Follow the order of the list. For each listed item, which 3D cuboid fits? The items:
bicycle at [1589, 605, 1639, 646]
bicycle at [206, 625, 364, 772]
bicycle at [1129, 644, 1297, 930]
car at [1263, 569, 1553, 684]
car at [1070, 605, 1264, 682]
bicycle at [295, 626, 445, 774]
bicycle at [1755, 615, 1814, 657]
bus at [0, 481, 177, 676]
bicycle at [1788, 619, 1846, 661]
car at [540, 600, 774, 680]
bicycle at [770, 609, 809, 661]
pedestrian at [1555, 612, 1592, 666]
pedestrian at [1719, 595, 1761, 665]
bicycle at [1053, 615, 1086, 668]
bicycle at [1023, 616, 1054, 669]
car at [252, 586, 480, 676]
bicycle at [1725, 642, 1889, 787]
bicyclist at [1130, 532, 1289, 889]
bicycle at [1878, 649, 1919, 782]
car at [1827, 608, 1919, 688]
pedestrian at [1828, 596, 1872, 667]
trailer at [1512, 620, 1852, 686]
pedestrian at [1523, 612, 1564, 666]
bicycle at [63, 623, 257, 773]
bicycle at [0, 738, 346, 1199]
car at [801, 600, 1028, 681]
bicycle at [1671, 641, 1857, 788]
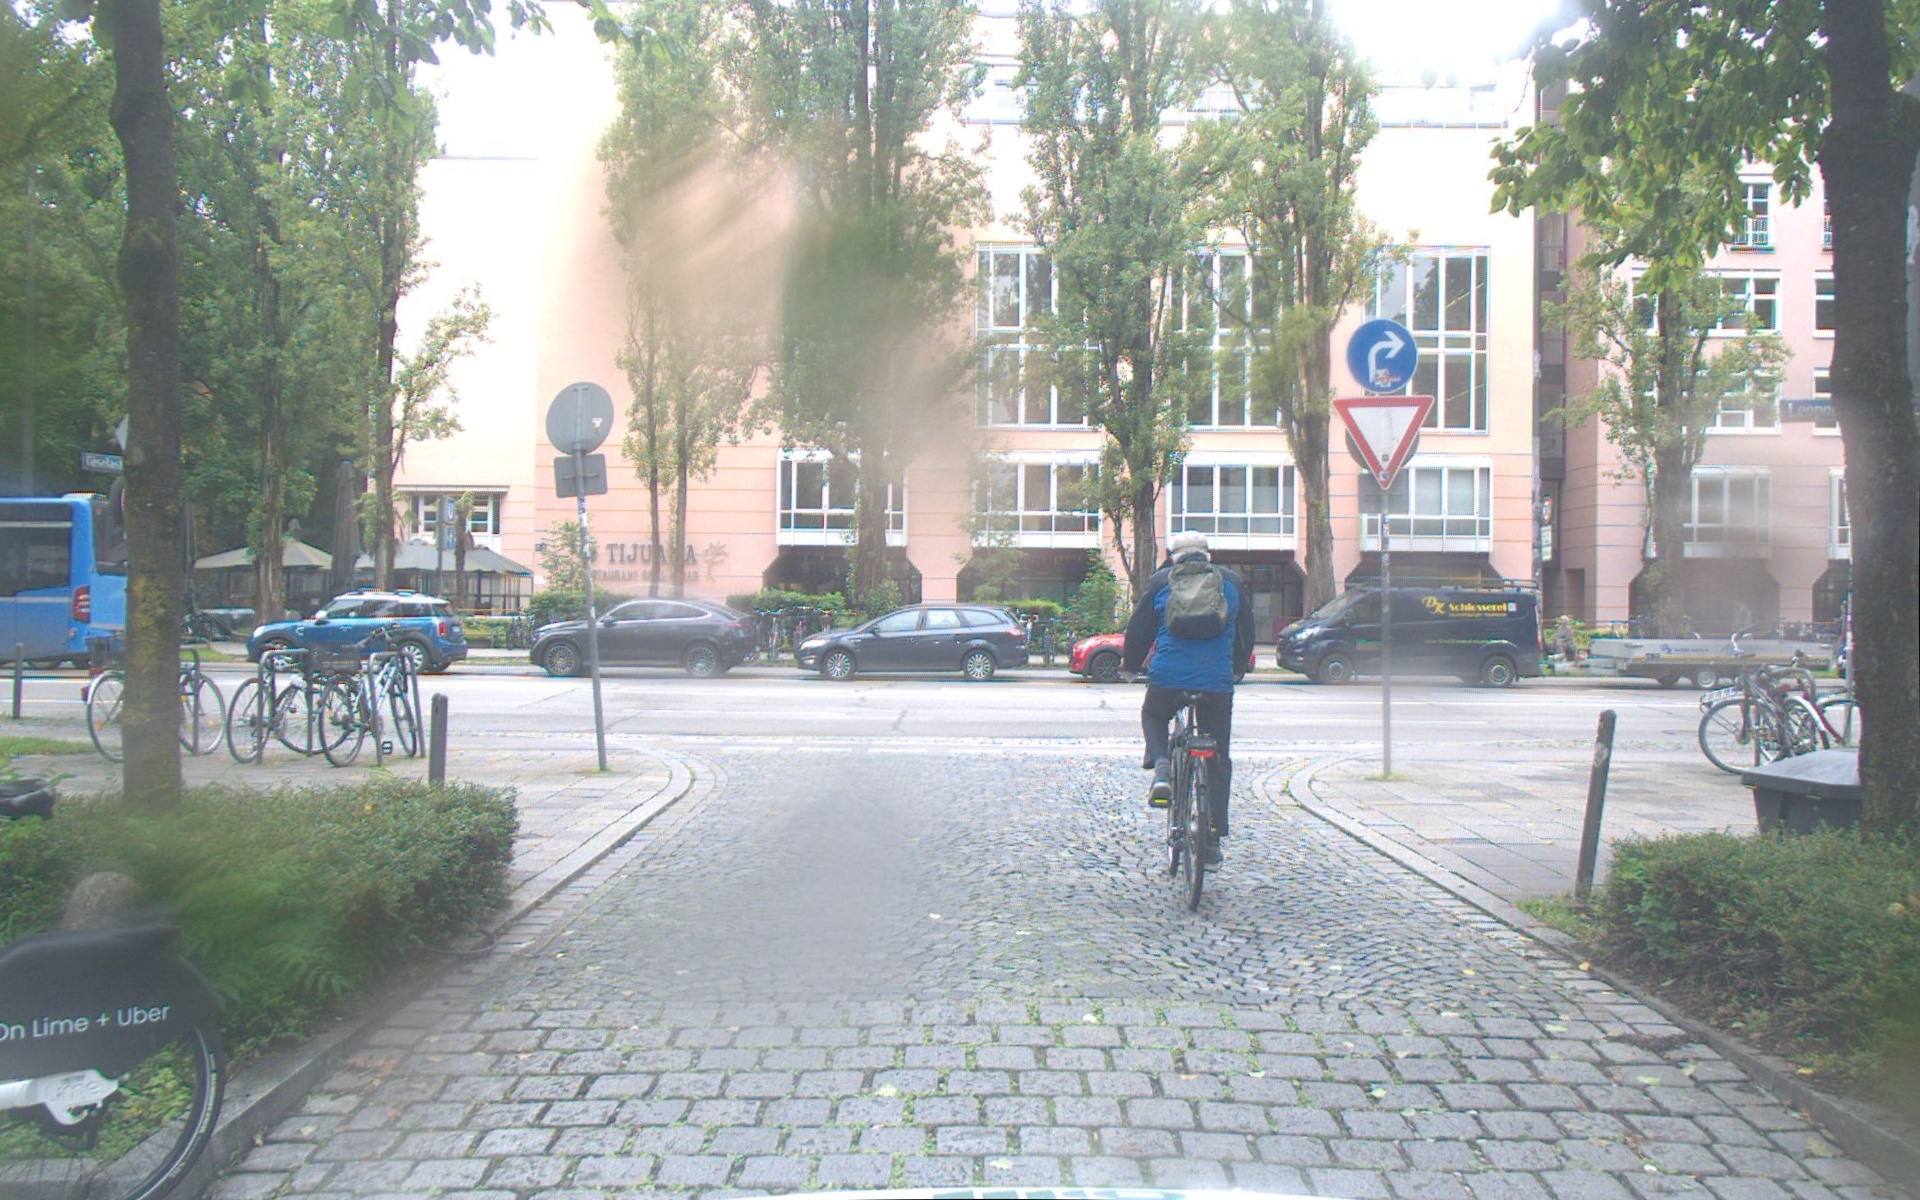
[{"bbox_3d":[18.662,0.717,47.230,0.660,1.144,1.989,0,0,1],"label":"bicycle"},{"bbox_3d":[-5.577,0.778,13.762,0.479,1.112,1.704,0,0,5],"label":"bicycle"},{"bbox_3d":[1.177,0.818,8.003,0.701,1.168,1.901,0,0,6],"label":"bicycle"},{"bbox_3d":[9.044,0.528,33.725,5.366,2.235,2.024,0,0,0],"label":"car"},{"bbox_3d":[4.137,0.859,33.516,3.780,1.474,1.679,0,0,3],"label":"car"},{"bbox_3d":[-4.813,0.783,13.597,0.479,1.112,1.704,0,0,5],"label":"bicycle"},{"bbox_3d":[23.466,1.019,47.110,0.660,1.144,2.107,0,0,1],"label":"bicycle"},{"bbox_3d":[-18.079,-0.351,27.927,8.315,3.105,2.927,0,0,0],"label":"bus"},{"bbox_3d":[24.223,1.119,46.787,0.660,1.144,1.989,0,0,1],"label":"bicycle"},{"bbox_3d":[-6.134,0.790,33.824,4.407,1.555,1.794,0,0,0],"label":"car"},{"bbox_3d":[-3.921,0.789,38.137,0.660,1.144,1.989,0,0,1],"label":"bicycle"},{"bbox_3d":[16.164,1.013,43.582,0.714,1.393,0.709,1,0,1],"label":"pedestrian"},{"bbox_3d":[19.795,0.753,41.981,0.714,1.743,0.709,1,0,1],"label":"pedestrian"},{"bbox_3d":[2.481,0.933,37.652,0.660,1.144,1.742,0,0,1],"label":"bicycle"},{"bbox_3d":[1.775,0.949,37.661,0.660,1.144,1.742,0,0,1],"label":"bicycle"},{"bbox_3d":[-12.054,0.630,33.743,3.982,1.762,1.793,0,-1,-1],"label":"car"},{"bbox_3d":[7.069,0.921,13.888,0.464,1.069,1.877,0,1,2],"label":"bicycle"},{"bbox_3d":[1.198,0.508,8.069,0.707,1.647,0.757,0,0,5],"label":"bicyclist"},{"bbox_3d":[7.977,0.934,13.067,0.464,1.069,1.877,0,-1,2],"label":"bicycle"},{"bbox_3d":[19.995,0.957,33.299,4.132,1.569,1.807,0,-1,2],"label":"car"},{"bbox_3d":[21.997,0.767,40.883,0.714,1.743,0.709,1,0,1],"label":"pedestrian"},{"bbox_3d":[14.610,1.064,33.763,5.894,1.220,2.405,0,0,1],"label":"trailer"},{"bbox_3d":[15.356,1.010,43.538,0.699,1.393,0.725,1,0,-29],"label":"pedestrian"},{"bbox_3d":[-6.557,0.767,13.676,0.479,1.112,1.985,0,0,5],"label":"bicycle"},{"bbox_3d":[-2.269,0.928,3.512,1.739,1.163,0.548,0,0,-31],"label":"bicycle"},{"bbox_3d":[-0.891,0.806,33.738,4.513,1.555,1.794,0,0,0],"label":"car"},{"bbox_3d":[6.441,0.883,13.358,0.465,1.069,1.874,0,-1,-5],"label":"bicycle"}]
